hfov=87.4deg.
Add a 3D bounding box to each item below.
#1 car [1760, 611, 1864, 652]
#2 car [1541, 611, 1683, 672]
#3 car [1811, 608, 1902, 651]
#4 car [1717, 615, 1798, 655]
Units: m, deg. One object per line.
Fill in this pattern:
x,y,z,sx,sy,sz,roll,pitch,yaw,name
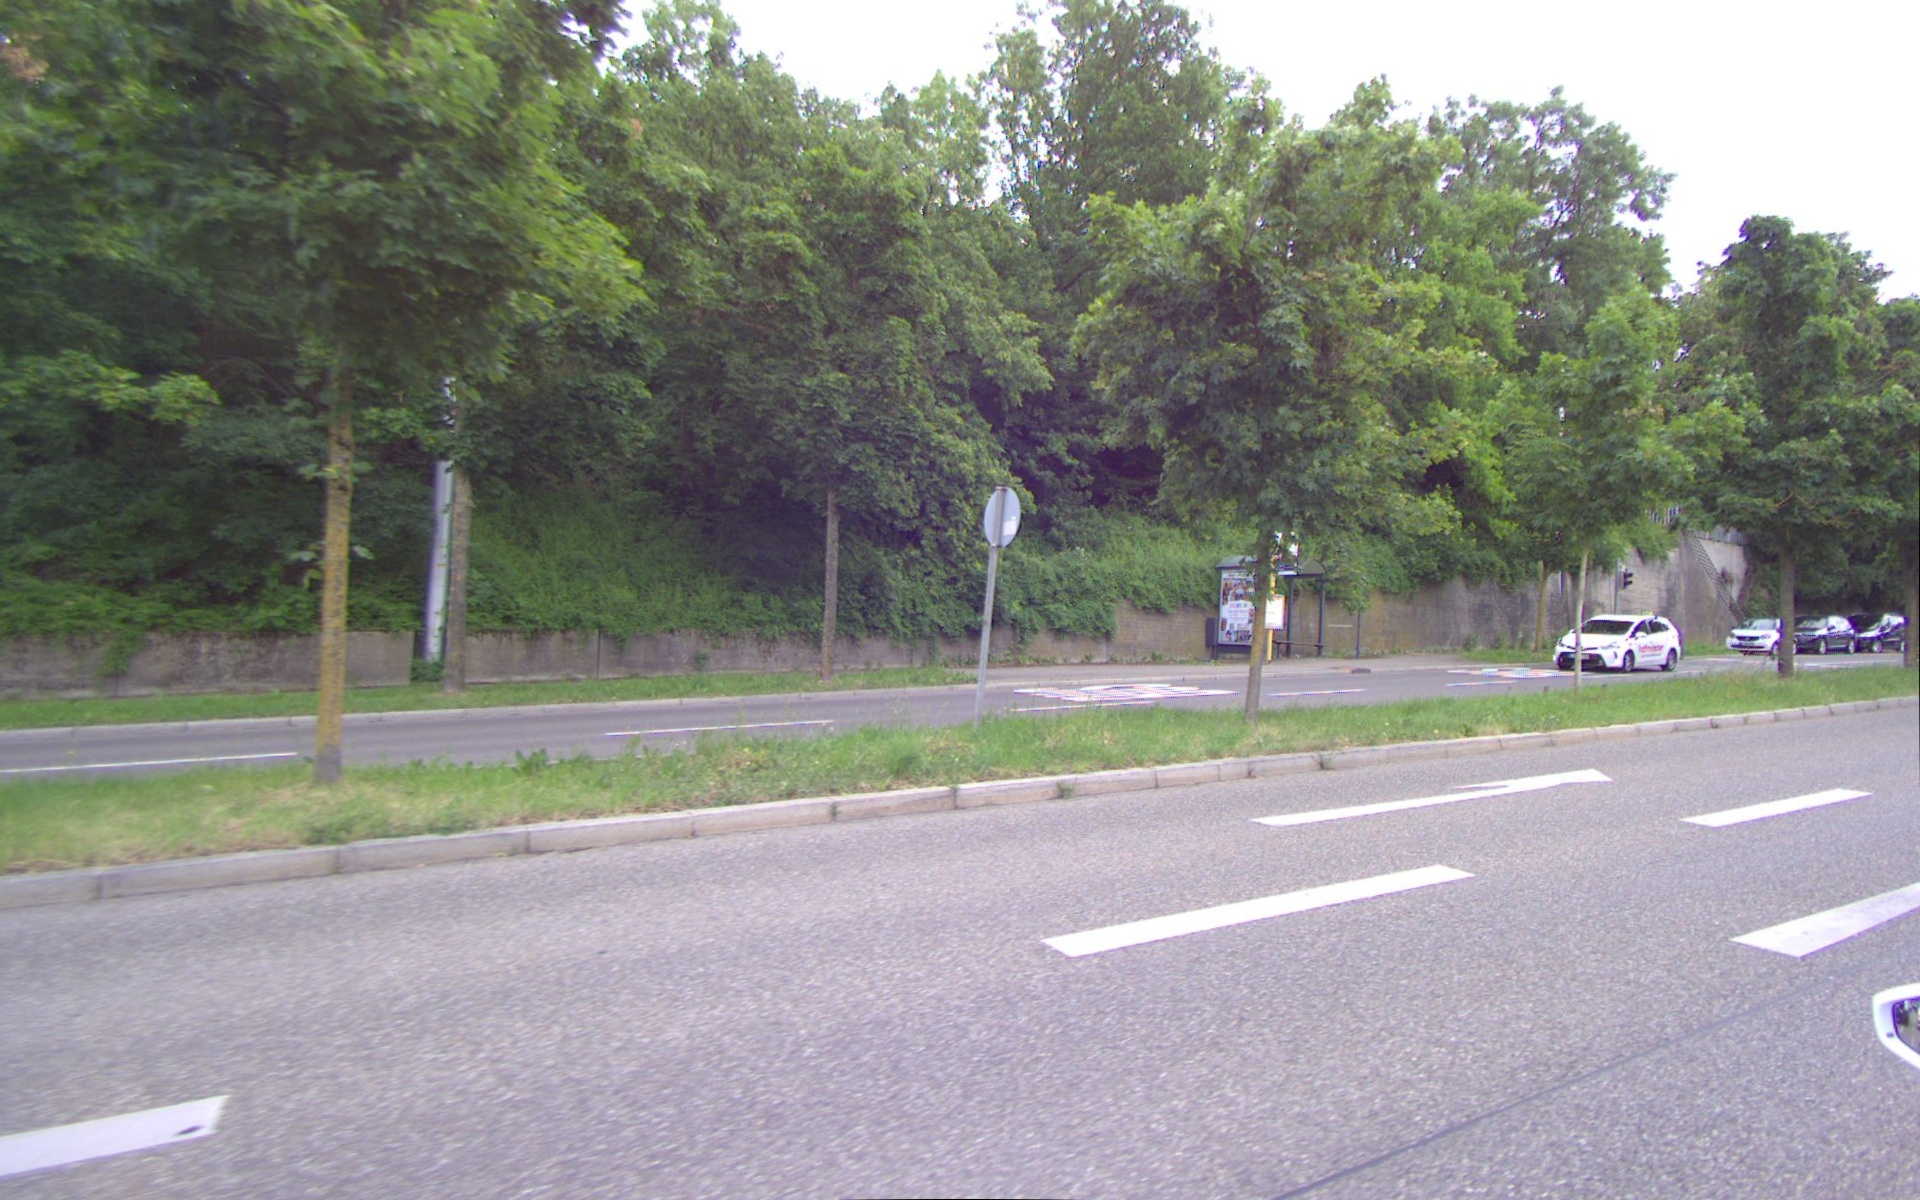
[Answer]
37.591,1.387,44.297,4.476,1.679,1.961,1,1,-28,car
18.679,1.121,28.739,4.411,1.581,1.769,0,1,-33,car
41.583,1.343,46.586,4.434,1.868,1.772,1,1,-29,car
33.377,1.427,42.026,3.064,1.518,1.769,0,1,-33,car
